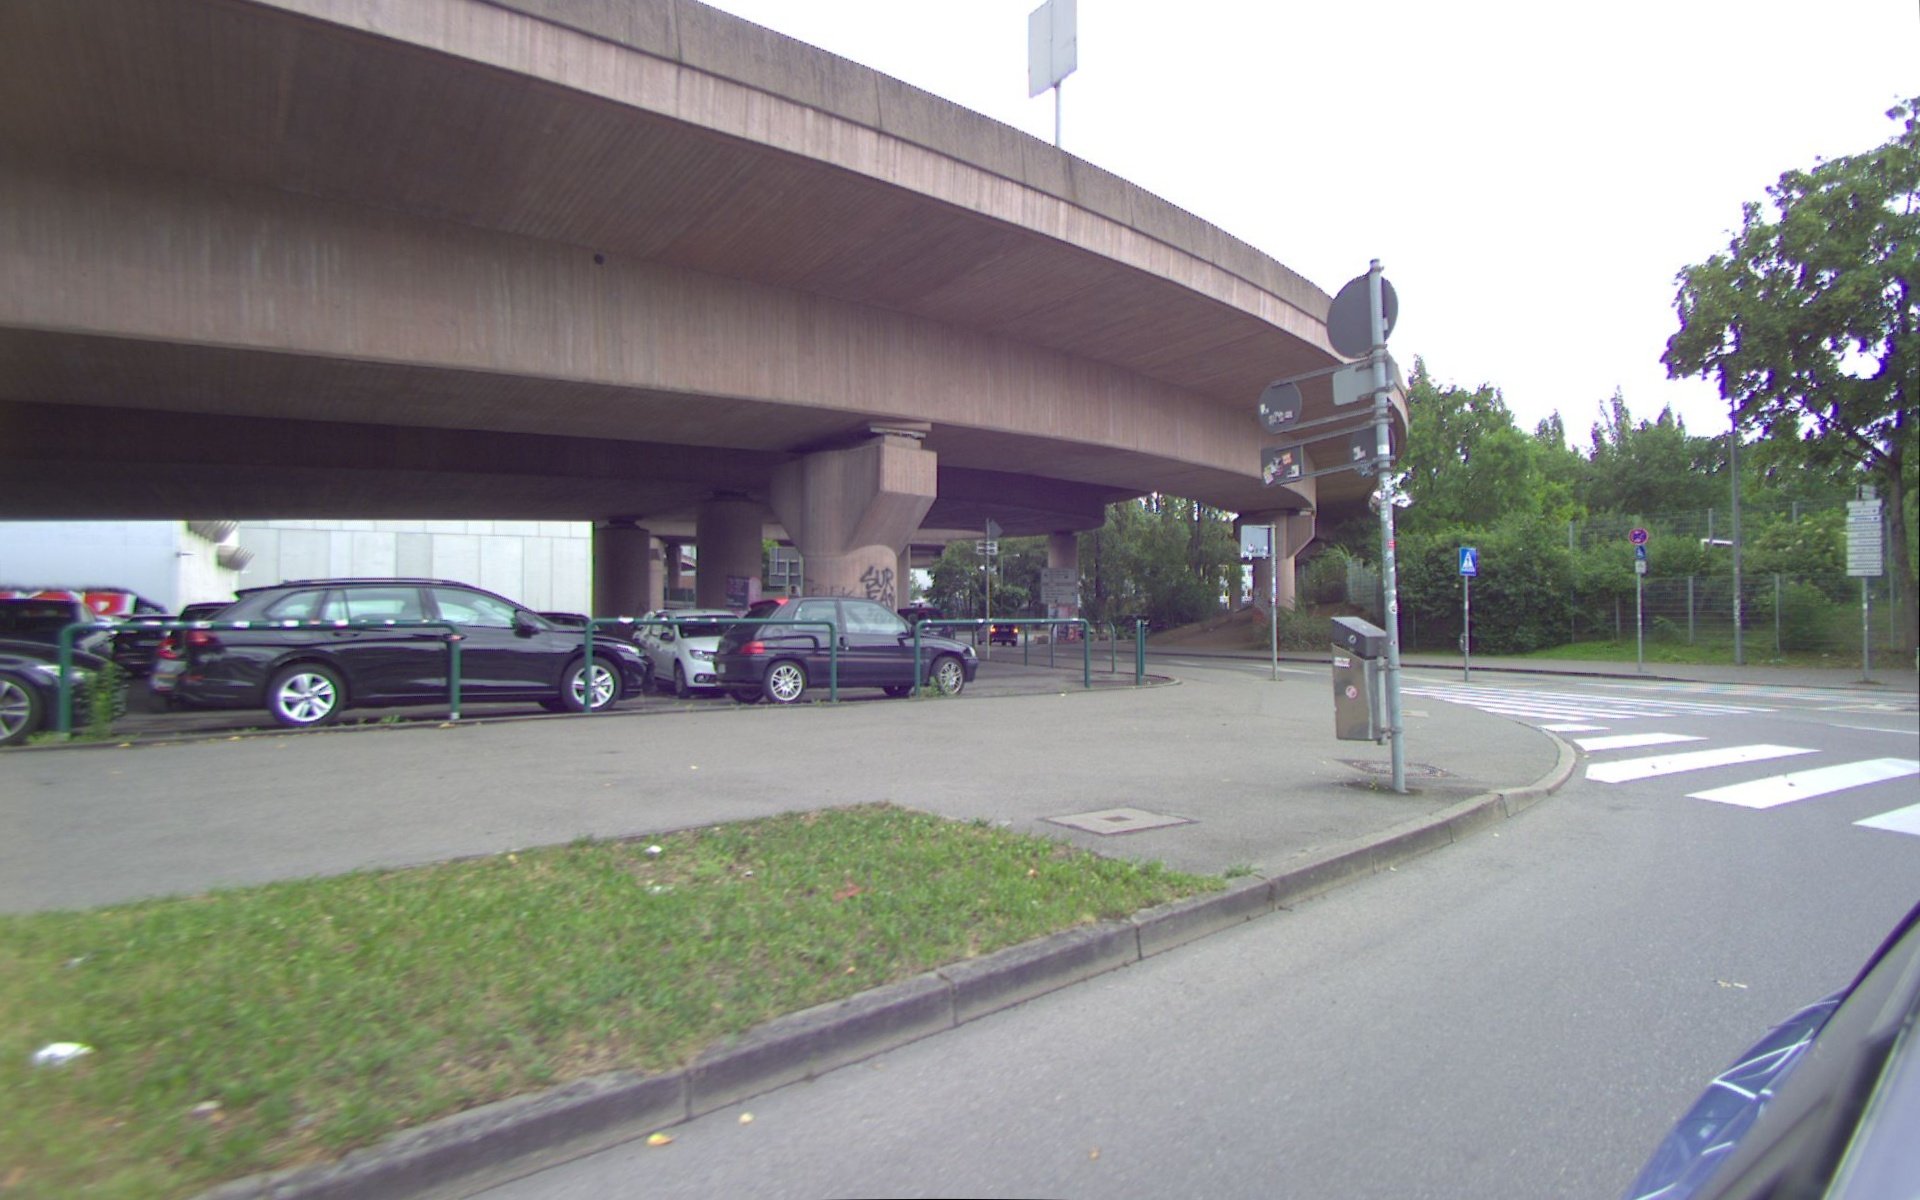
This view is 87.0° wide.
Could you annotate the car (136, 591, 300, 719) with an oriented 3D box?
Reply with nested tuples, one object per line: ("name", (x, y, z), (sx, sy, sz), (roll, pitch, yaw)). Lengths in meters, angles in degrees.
("car", (-10.639, 0.712, 14.541), (1.667, 1.575, 3.859), (1, -2, -37))

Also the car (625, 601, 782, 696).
("car", (-4.885, 0.840, 18.898), (1.607, 1.572, 4.012), (1, -1, -34))

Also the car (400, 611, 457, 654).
("car", (-21.277, 1.270, 40.451), (1.802, 1.613, 4.195), (1, -1, -31))

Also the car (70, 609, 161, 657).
("car", (-30.125, 1.146, 36.214), (1.802, 1.613, 4.195), (1, -1, -31))

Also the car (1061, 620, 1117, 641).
("car", (9.430, 2.202, 73.682), (1.819, 1.449, 4.704), (-4, -3, 40))

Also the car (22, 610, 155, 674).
("car", (-21.993, 1.023, 25.707), (1.802, 1.484, 4.195), (1, -1, -31))

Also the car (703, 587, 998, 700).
("car", (-1.438, 0.560, 13.611), (3.626, 1.347, 1.510), (0, -3, -31))

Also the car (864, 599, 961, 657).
("car", (-1.363, 0.739, 27.537), (1.577, 1.415, 3.586), (-1, -1, -20))

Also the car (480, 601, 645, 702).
("car", (-6.952, 0.823, 17.488), (1.667, 1.529, 3.859), (1, -2, -37))

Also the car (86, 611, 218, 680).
("car", (-18.344, 0.986, 23.154), (1.802, 1.445, 3.864), (1, -1, -31))

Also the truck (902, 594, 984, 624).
("truck", (-2.042, 1.073, 122.994), (10.006, 3.542, 2.274), (1, 0, -27))

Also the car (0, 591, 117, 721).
("car", (-12.855, 0.711, 13.910), (1.725, 1.575, 3.859), (1, -2, -37))

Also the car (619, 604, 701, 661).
("car", (-8.816, 0.930, 29.601), (1.500, 1.519, 3.377), (-2, 0, -31))

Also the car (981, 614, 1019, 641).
("car", (2.427, 1.654, 62.231), (1.809, 1.594, 4.553), (0, -1, -4))

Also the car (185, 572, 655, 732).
("car", (-5.564, 0.492, 10.820), (4.164, 1.439, 1.510), (0, -3, -32))

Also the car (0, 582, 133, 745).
("car", (-9.654, 0.536, 8.258), (4.288, 1.338, 1.772), (0, -1, -32))

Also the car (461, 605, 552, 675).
("car", (-12.156, 1.011, 27.001), (1.802, 1.720, 3.864), (1, -1, -31))

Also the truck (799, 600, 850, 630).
("truck", (-13.070, 1.451, 98.278), (2.389, 2.779, 7.201), (0, -1, 14))

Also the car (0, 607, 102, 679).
("car", (-20.221, 0.893, 21.937), (1.802, 1.445, 3.864), (1, -1, -31))

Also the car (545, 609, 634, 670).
("car", (-10.215, 1.030, 27.723), (1.801, 1.489, 4.385), (-1, -1, -26))

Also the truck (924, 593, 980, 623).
("truck", (-0.948, 0.939, 120.094), (6.279, 3.452, 2.275), (1, 0, -25))

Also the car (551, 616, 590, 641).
("car", (-24.767, 1.787, 64.248), (1.802, 1.533, 4.506), (1, -2, -28))

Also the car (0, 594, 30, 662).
("car", (-24.826, 0.696, 24.724), (2.049, 1.699, 5.110), (1, -1, -30))

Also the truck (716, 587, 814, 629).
("truck", (-21.347, 0.944, 110.992), (9.929, 4.423, 3.917), (1, -2, -28))
